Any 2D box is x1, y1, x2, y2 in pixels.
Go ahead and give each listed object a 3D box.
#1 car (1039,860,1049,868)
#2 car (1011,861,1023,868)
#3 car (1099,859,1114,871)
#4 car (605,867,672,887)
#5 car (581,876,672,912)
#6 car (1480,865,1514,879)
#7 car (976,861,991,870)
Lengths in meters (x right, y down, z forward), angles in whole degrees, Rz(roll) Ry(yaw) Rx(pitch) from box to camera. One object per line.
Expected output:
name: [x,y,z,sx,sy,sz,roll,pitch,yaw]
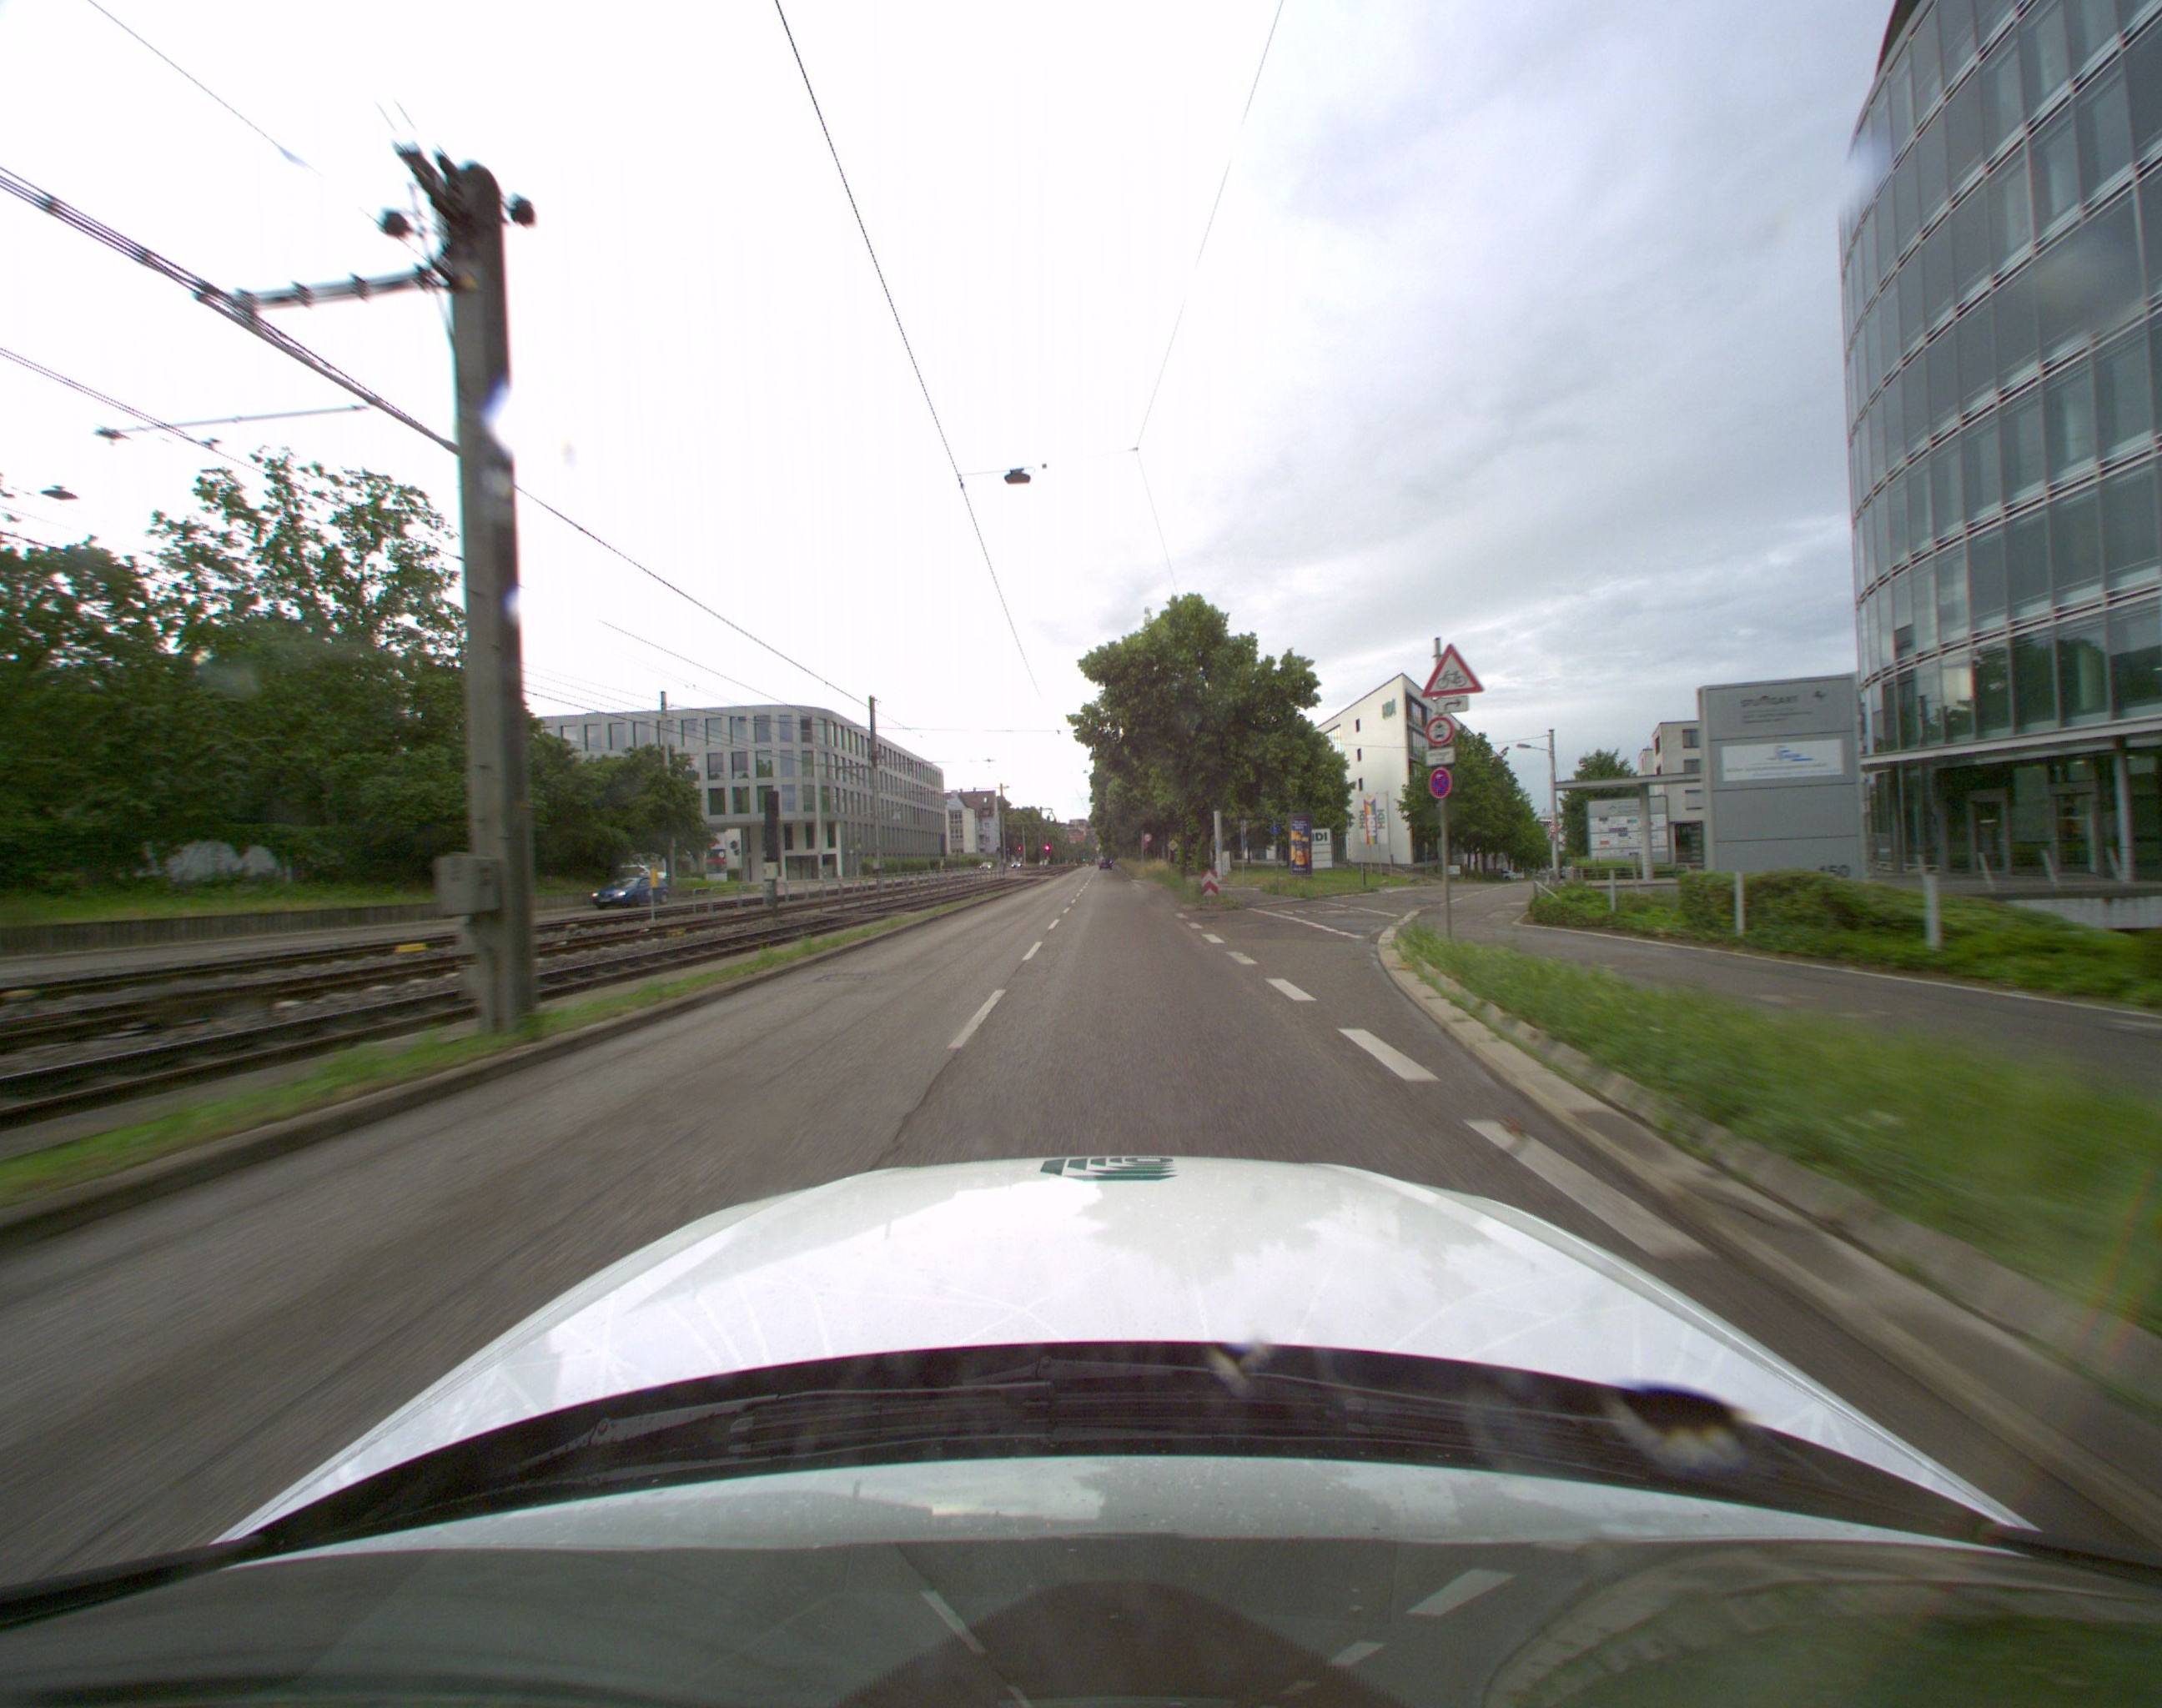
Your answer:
car: [-8.431,2.298,186.302,1.894,1.645,4.888,-2,0,3]
car: [-12.962,2.063,164.872,1.791,1.347,4.261,-2,0,2]
car: [3.377,1.407,107.964,1.974,1.440,4.476,-2,0,2]
car: [-33.445,1.725,61.611,3.907,1.453,1.925,1,0,-1]
car: [-21.107,1.823,37.998,1.753,1.397,3.905,-2,0,4]
car: [54.656,2.356,107.077,3.950,1.717,2.012,-2,-1,26]
car: [-15.624,1.860,130.732,1.750,1.244,3.989,-2,0,2]
